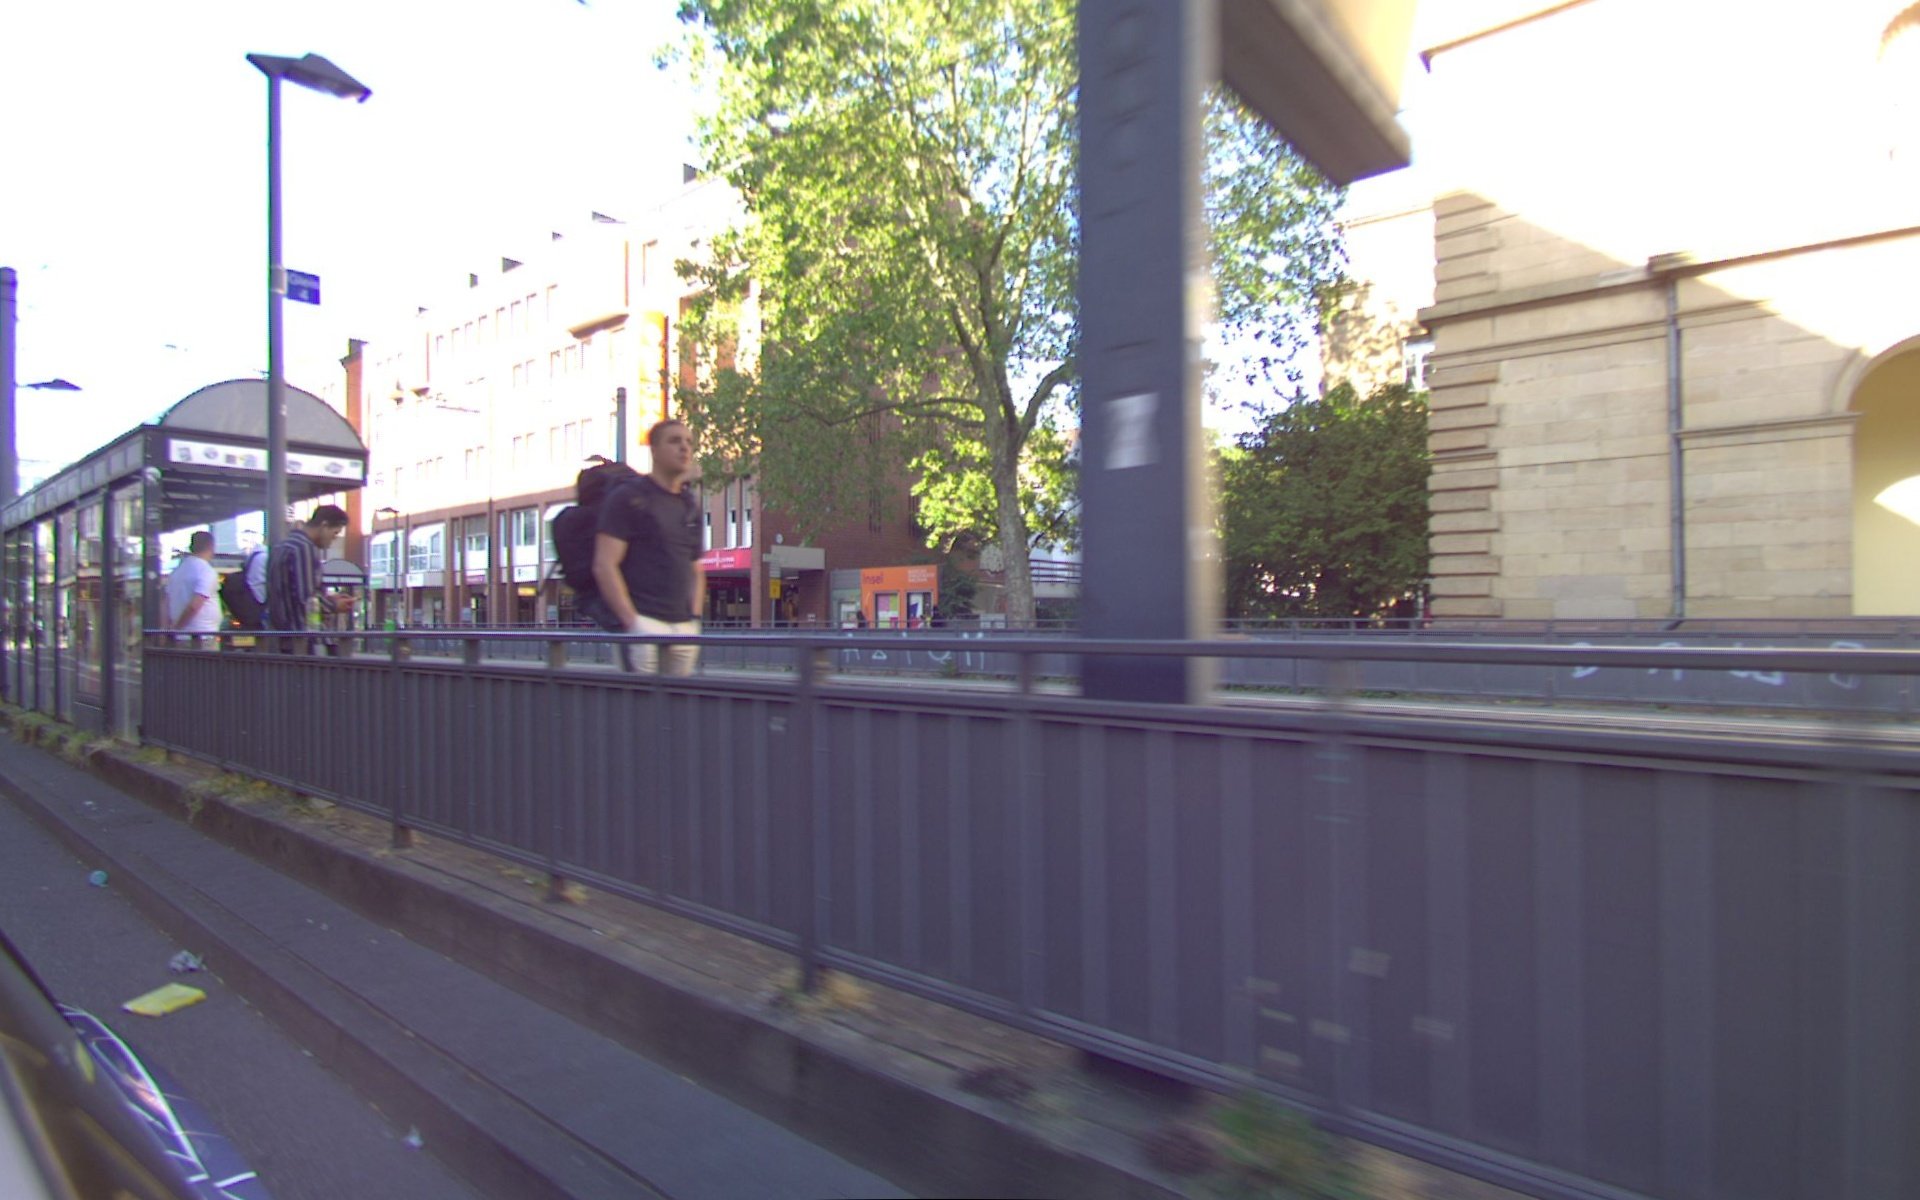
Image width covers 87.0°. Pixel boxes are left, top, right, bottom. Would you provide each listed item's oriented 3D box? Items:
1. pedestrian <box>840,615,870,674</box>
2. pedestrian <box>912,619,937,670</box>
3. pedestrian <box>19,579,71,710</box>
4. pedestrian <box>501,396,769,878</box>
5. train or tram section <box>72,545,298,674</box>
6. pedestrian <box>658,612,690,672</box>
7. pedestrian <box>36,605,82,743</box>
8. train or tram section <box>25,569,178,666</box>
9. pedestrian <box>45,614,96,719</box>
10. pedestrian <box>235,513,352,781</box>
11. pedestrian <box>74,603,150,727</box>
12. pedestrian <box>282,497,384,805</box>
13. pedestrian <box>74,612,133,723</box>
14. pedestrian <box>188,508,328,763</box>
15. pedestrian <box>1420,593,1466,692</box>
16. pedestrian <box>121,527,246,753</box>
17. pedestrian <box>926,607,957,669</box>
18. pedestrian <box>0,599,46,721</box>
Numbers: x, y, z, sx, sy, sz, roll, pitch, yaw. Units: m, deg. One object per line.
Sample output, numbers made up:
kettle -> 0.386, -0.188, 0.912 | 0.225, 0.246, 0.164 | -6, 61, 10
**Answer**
pedestrian -> -3.311, 1.389, 31.874 | 0.647, 1.819, 0.680 | -2, -1, 38
pedestrian -> -1.090, 1.347, 30.726 | 0.474, 1.541, 0.577 | -2, -1, 41
pedestrian -> -11.467, 0.548, 12.682 | 0.592, 1.585, 0.420 | -2, -1, 41
pedestrian -> -1.414, 0.140, 4.427 | 0.802, 1.845, 0.763 | -1, 0, 37
train or tram section -> -27.473, 0.499, 35.246 | 16.475, 3.672, 2.943 | -2, 0, 41
pedestrian -> -9.489, 1.381, 33.548 | 0.665, 1.930, 0.782 | -2, -2, 39
pedestrian -> -10.684, 0.861, 12.013 | 0.316, 1.584, 0.544 | -1, 0, -34
train or tram section -> -37.513, 0.791, 43.919 | 13.935, 3.672, 2.943 | -2, 0, 41
pedestrian -> -10.126, 0.742, 11.521 | 0.460, 1.161, 0.362 | -1, 0, 40
pedestrian -> -4.389, 0.299, 6.663 | 0.589, 1.661, 0.488 | -2, -2, 39
pedestrian -> -8.975, 0.669, 10.715 | 0.460, 1.262, 0.535 | -1, 0, 39
pedestrian -> -3.608, 0.282, 5.817 | 0.528, 1.682, 0.348 | -2, -2, 39
pedestrian -> -9.348, 0.720, 11.041 | 0.460, 1.161, 0.404 | -1, 0, 40
pedestrian -> -5.216, 0.254, 7.521 | 0.747, 1.765, 0.683 | -2, -2, 39
pedestrian -> 8.658, 0.746, 18.142 | 0.613, 1.726, 0.672 | 0, 0, 39
pedestrian -> -6.496, 0.321, 8.467 | 0.747, 1.778, 0.683 | -2, -2, 39
pedestrian -> -0.580, 1.171, 31.263 | 0.626, 1.896, 0.698 | -2, -2, 44
pedestrian -> -12.462, 0.786, 13.441 | 0.447, 1.585, 0.420 | -2, -1, 41
